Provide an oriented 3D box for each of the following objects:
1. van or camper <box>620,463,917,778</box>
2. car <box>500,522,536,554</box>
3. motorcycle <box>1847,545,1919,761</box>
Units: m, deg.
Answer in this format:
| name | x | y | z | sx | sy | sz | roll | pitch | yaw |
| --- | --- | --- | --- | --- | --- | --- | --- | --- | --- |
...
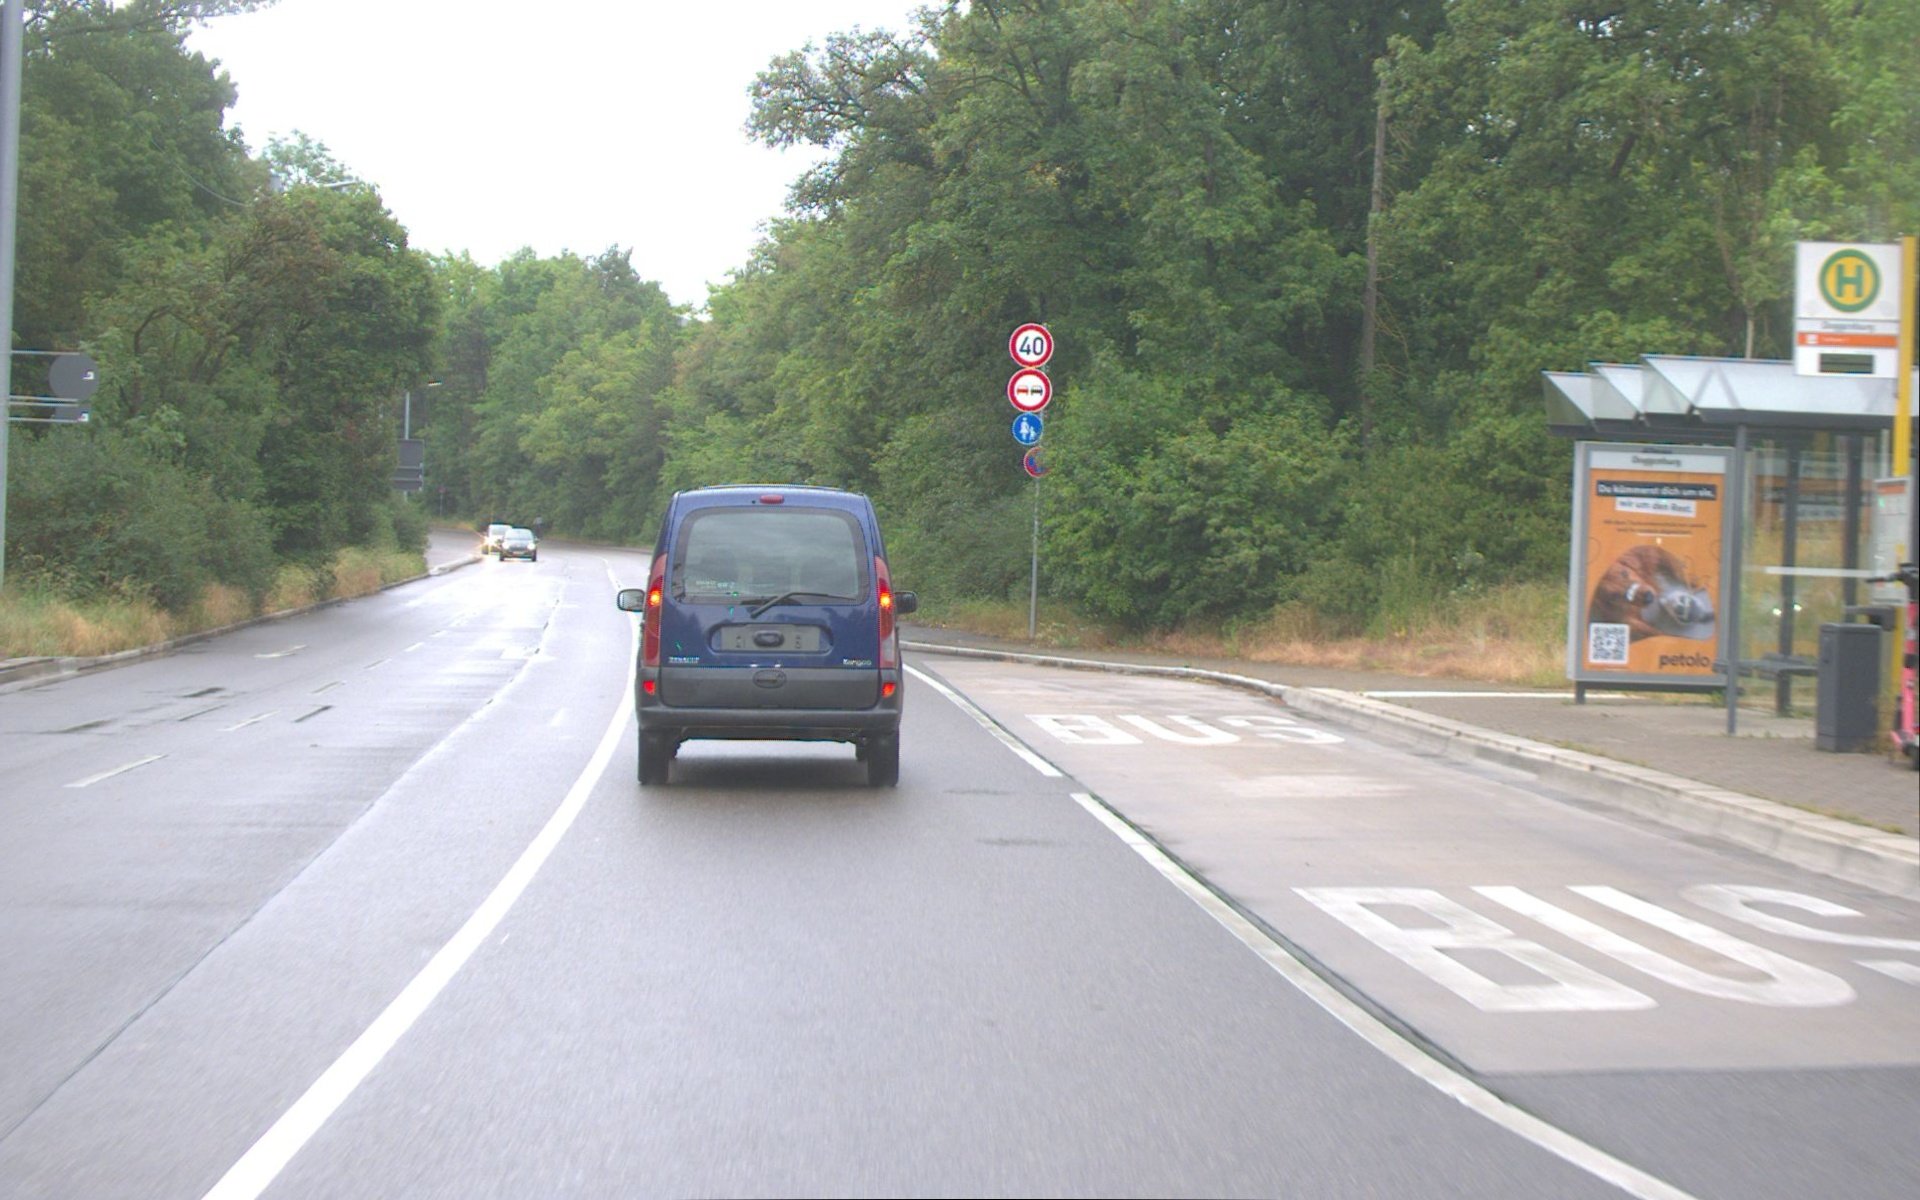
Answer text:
| name | x | y | z | sx | sy | sz | roll | pitch | yaw |
| --- | --- | --- | --- | --- | --- | --- | --- | --- | --- |
| van or camper | -1.258 | 0.108 | 22.223 | 1.712 | 1.819 | 4.001 | 1 | 0 | -4 |
| car | -20.377 | -2.860 | 158.486 | 1.598 | 1.436 | 3.992 | 0 | 1 | -7 |
| motorcycle | 5.866 | 0.315 | 21.362 | 0.589 | 1.284 | 1.537 | 2 | 1 | 12 |
